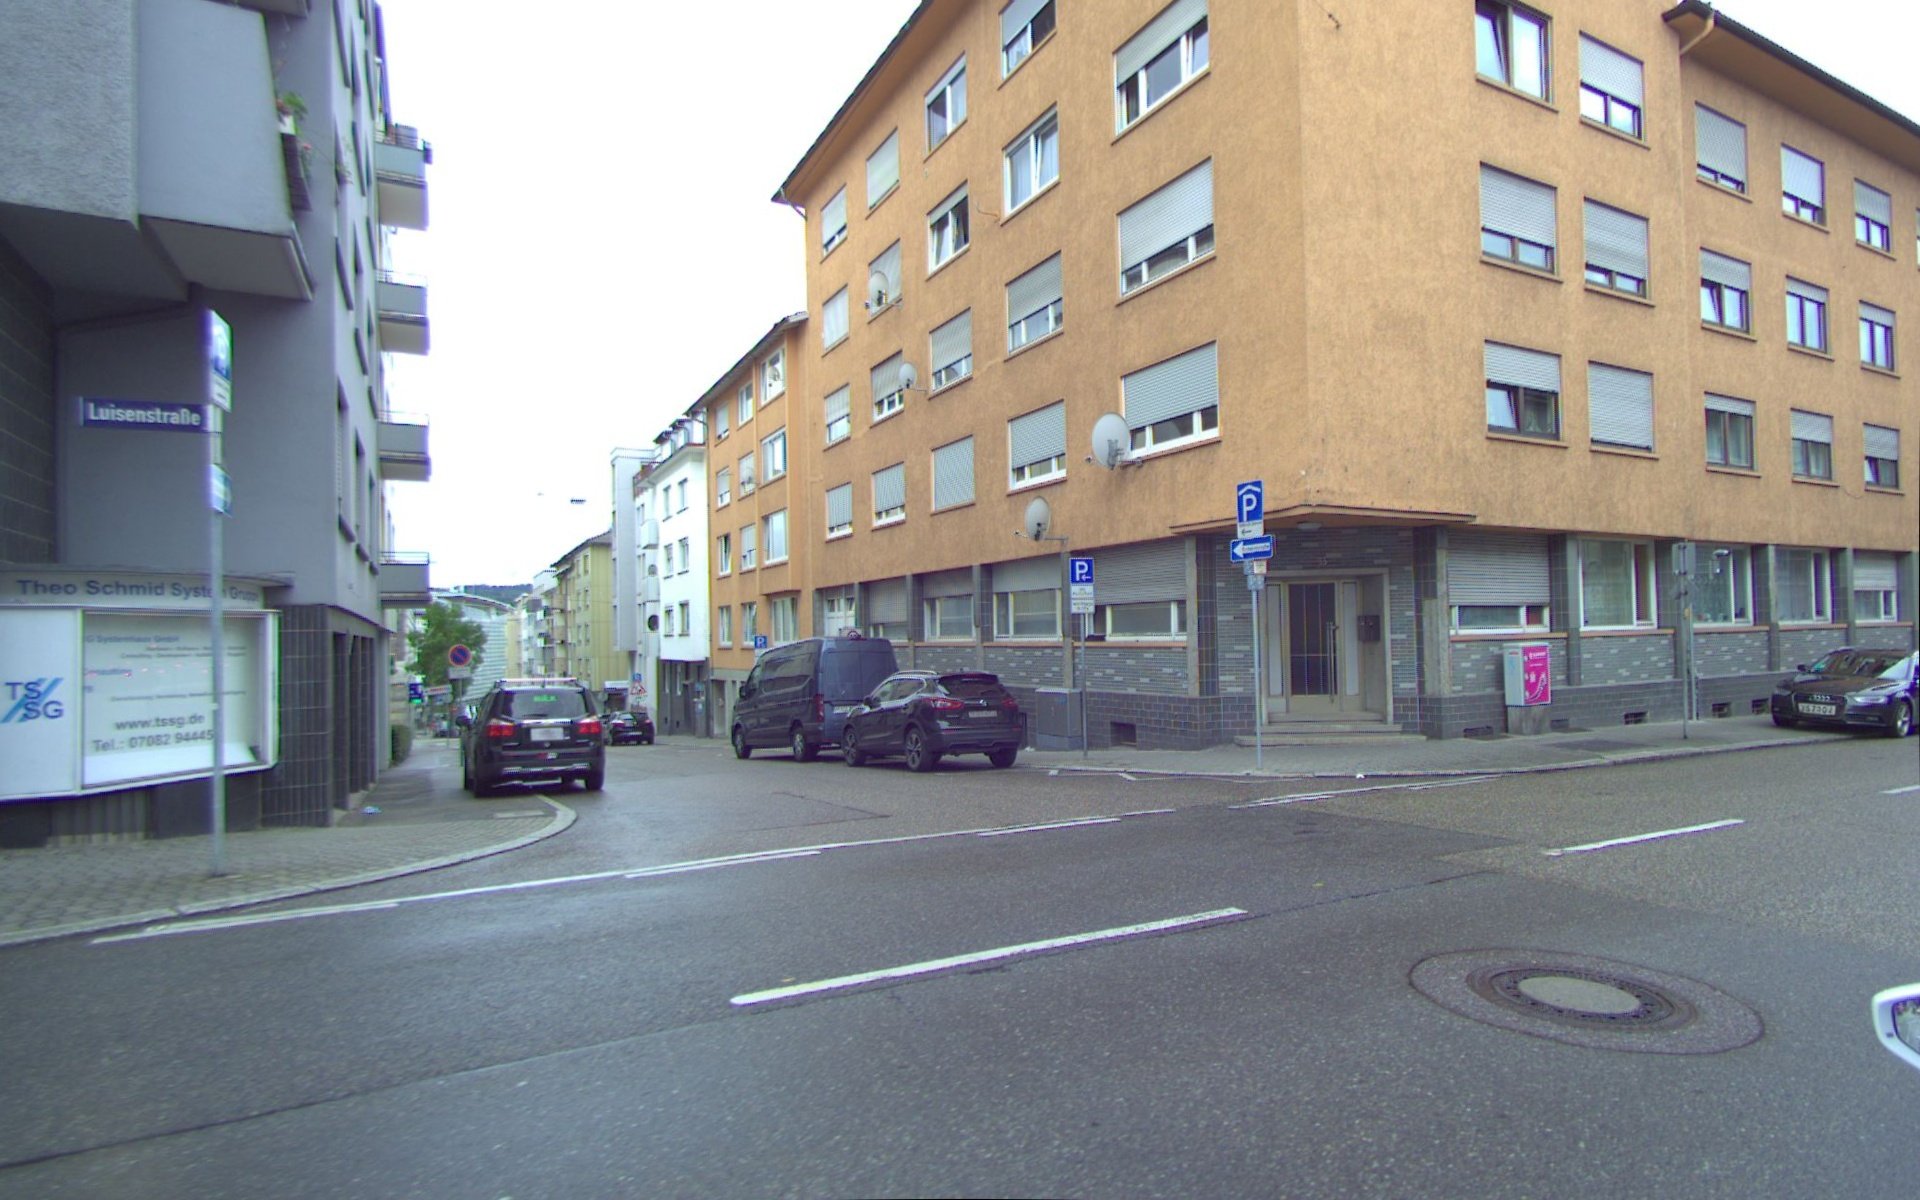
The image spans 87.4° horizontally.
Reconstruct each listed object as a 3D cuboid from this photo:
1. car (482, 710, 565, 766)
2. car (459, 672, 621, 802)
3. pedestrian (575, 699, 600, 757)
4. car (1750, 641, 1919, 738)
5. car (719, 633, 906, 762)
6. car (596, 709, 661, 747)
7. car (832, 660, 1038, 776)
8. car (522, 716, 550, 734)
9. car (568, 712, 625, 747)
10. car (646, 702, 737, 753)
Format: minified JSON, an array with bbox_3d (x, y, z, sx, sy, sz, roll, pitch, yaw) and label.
[{"bbox_3d":[-13.383,4.176,30.673,1.907,1.478,3.971,1,-6,-30],"label":"car"},{"bbox_3d":[-6.824,2.133,16.075,1.907,1.739,3.971,1,-6,-30],"label":"car"},{"bbox_3d":[-12.486,4.291,33.666,0.713,1.840,0.600,0,-1,-30],"label":"pedestrian"},{"bbox_3d":[16.541,1.539,18.332,4.497,1.478,1.882,1,-1,-31],"label":"car"},{"bbox_3d":[-3.426,2.180,22.185,1.962,2.490,5.313,1,-6,-34],"label":"car"},{"bbox_3d":[-14.389,5.534,43.500,1.907,1.478,3.971,1,-6,-30],"label":"car"},{"bbox_3d":[-0.565,1.980,17.123,1.906,1.673,3.974,0,-6,-28],"label":"car"},{"bbox_3d":[-39.368,11.592,93.177,1.907,1.478,3.971,1,-6,-30],"label":"car"},{"bbox_3d":[-17.466,6.199,48.183,1.907,1.478,3.971,1,-6,-30],"label":"car"},{"bbox_3d":[-8.878,4.158,32.966,1.907,1.478,3.971,1,-6,-30],"label":"car"}]
